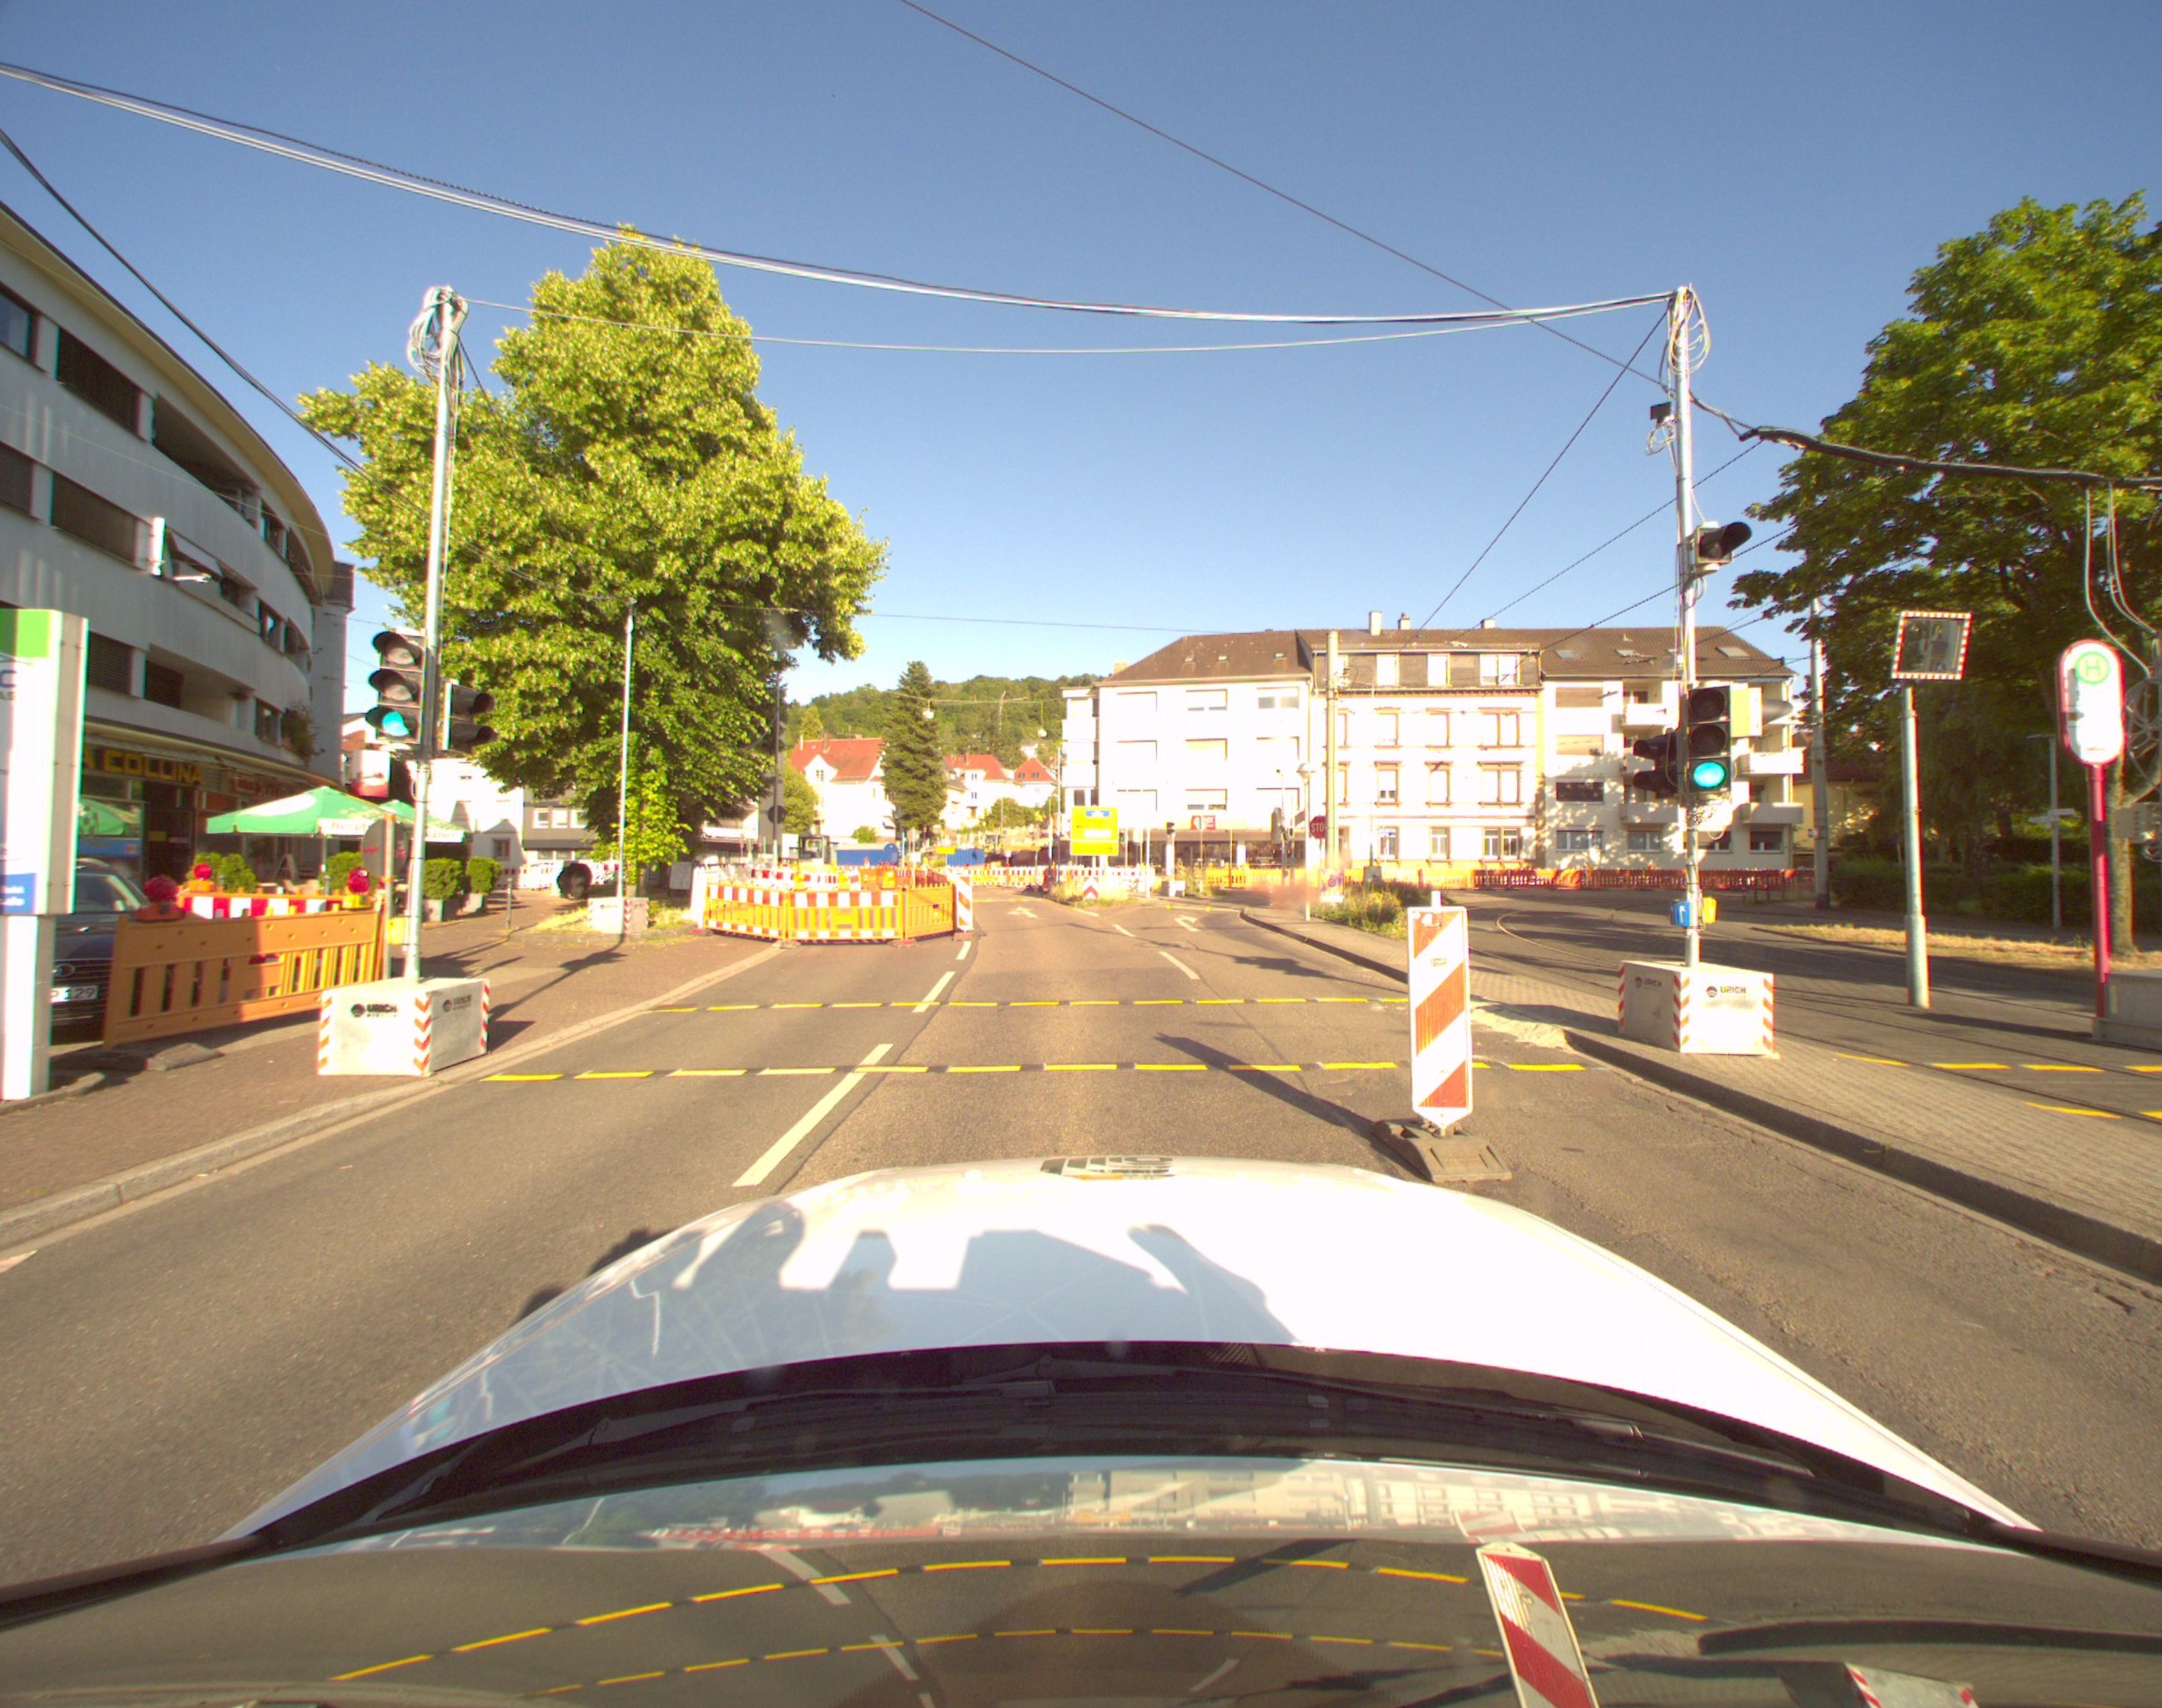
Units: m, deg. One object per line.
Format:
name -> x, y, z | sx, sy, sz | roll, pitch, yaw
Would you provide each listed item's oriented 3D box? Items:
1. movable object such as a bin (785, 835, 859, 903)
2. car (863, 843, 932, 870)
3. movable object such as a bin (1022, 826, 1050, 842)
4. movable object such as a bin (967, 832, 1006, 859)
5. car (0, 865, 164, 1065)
movable object such as a bin -> -9.358, 0.516, 29.731 | 1.643, 2.325, 3.916 | 0, 0, -3
car -> -14.908, 0.241, 66.576 | 2.562, 2.121, 6.181 | -1, -1, 20
movable object such as a bin -> -6.322, -2.810, 115.167 | 2.549, 2.122, 5.801 | -1, -1, 11
movable object such as a bin -> -9.174, -0.801, 79.256 | 1.932, 2.494, 4.574 | -1, -1, 20
car -> -9.316, 0.845, 7.162 | 3.835, 1.438, 1.606 | -1, -1, 42
